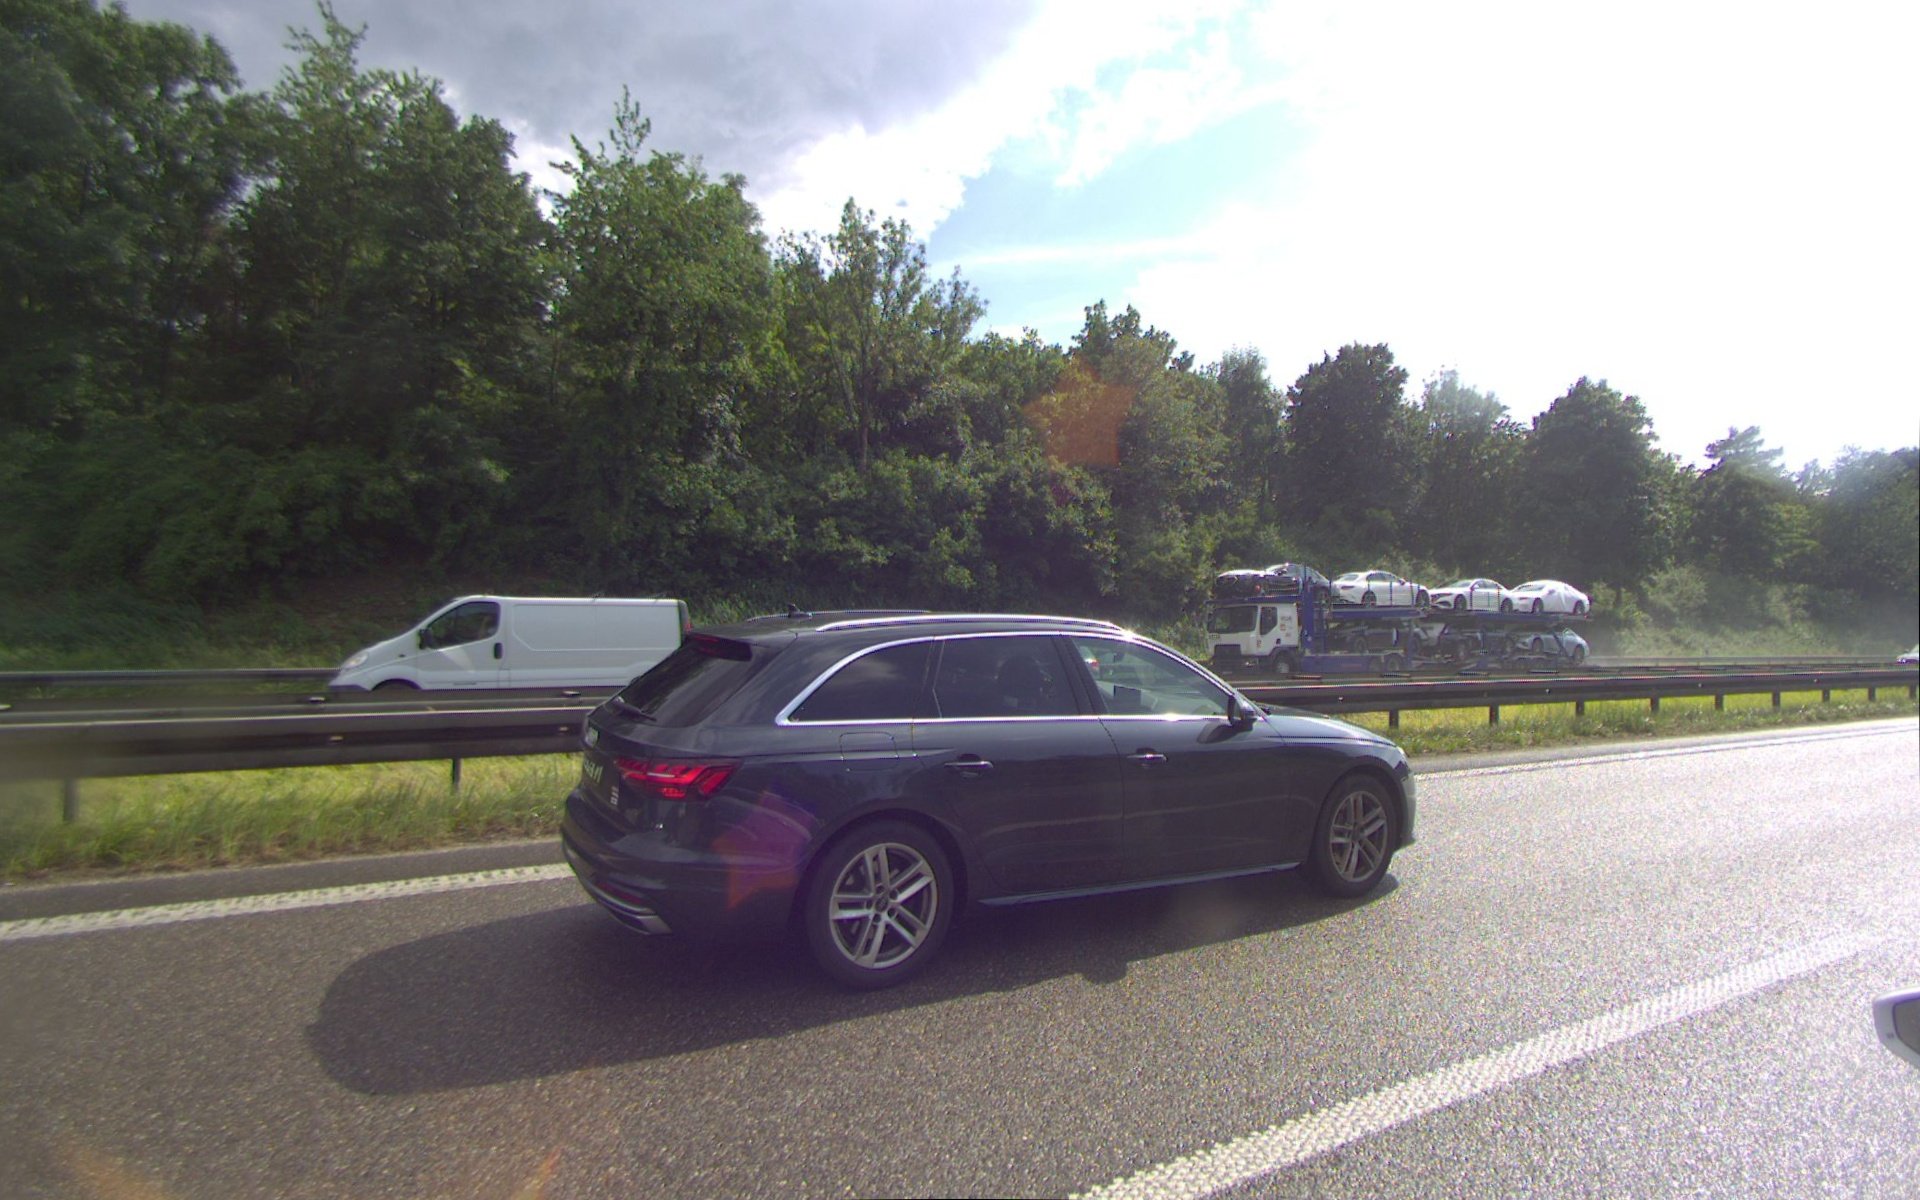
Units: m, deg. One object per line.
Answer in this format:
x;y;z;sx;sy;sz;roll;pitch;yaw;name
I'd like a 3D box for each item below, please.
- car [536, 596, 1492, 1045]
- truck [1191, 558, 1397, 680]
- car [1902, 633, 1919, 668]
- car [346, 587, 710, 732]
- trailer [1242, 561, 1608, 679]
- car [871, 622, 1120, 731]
0.488;0.773;5.235;4.782;1.437;1.785;2;0;-30;car
11.689;0.668;35.046;6.781;3.883;2.977;2;0;-29;truck
44.332;2.288;45.125;4.477;1.519;1.808;2;0;-31;car
-6.660;0.868;15.745;4.984;1.972;1.859;2;0;-31;car
18.545;0.883;38.872;17.735;3.882;2.977;2;0;-29;trailer
0.589;1.141;15.743;3.610;1.483;1.594;2;0;-31;car
